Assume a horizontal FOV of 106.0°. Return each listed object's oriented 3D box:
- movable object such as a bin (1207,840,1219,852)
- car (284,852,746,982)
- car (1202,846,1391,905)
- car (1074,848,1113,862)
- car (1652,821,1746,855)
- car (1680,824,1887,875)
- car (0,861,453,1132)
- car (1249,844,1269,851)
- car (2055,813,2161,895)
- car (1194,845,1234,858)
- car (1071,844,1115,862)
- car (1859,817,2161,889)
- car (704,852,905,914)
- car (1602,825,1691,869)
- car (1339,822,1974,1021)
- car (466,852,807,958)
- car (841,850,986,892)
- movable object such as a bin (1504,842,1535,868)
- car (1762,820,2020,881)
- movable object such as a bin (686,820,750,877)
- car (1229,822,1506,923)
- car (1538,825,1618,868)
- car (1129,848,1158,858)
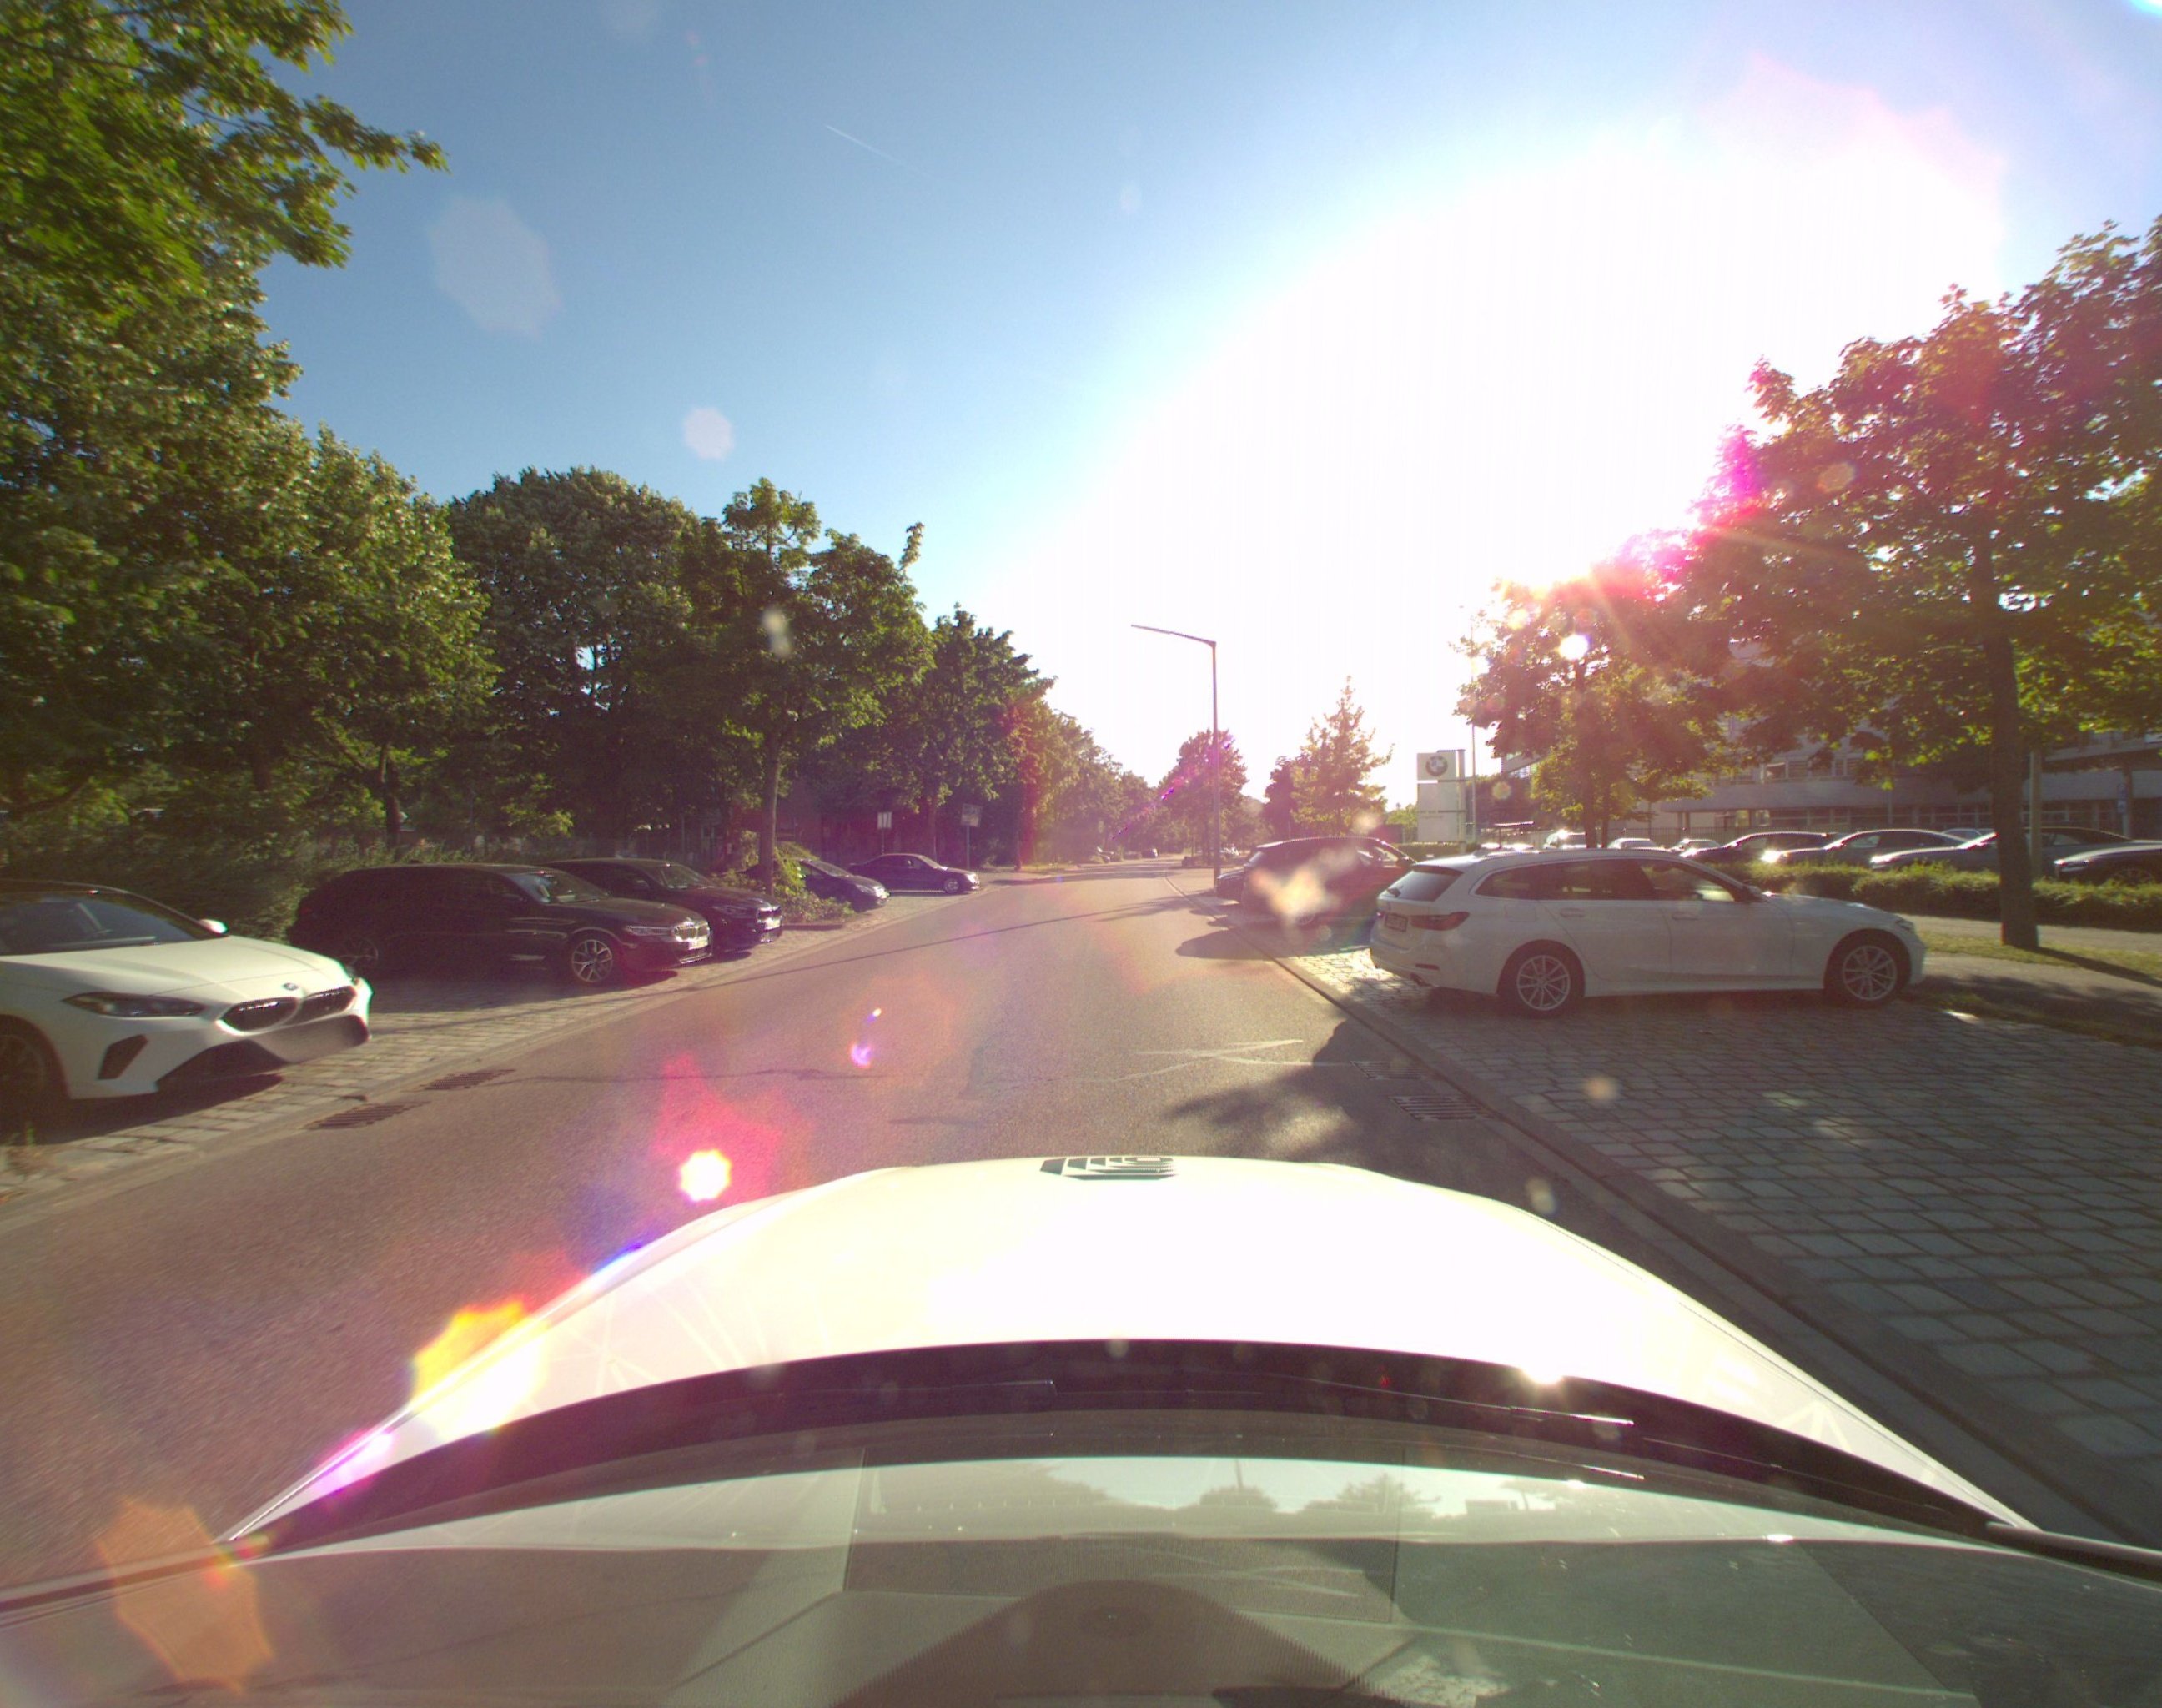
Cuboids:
[{"bbox_3d":[34.747,-2.238,215.023,2.819,3.068,4.943,1,1,12],"label":"movable object such as a bin"},{"bbox_3d":[-7.438,0.783,11.122,4.834,1.530,2.000,1,0,-1],"label":"car"},{"bbox_3d":[5.567,0.536,21.503,4.464,1.404,2.035,-1,0,1],"label":"car"},{"bbox_3d":[1.448,0.119,91.847,4.187,1.530,1.710,-1,0,9],"label":"car"},{"bbox_3d":[28.265,-0.733,37.442,2.015,1.432,4.582,-2,0,18],"label":"car"},{"bbox_3d":[21.829,-0.116,25.478,4.729,1.463,2.012,-1,0,43],"label":"car"},{"bbox_3d":[-7.513,0.863,5.971,4.269,1.530,2.002,1,0,2],"label":"car"},{"bbox_3d":[45.637,-1.670,208.687,4.804,1.479,2.009,1,1,17],"label":"car"},{"bbox_3d":[21.108,-0.039,14.410,4.729,1.463,2.012,-1,0,43],"label":"car"},{"bbox_3d":[17.871,-0.328,109.146,5.142,1.574,2.164,-1,0,10],"label":"car"},{"bbox_3d":[1.436,-0.155,95.885,4.975,2.020,2.180,-1,0,9],"label":"car"},{"bbox_3d":[21.035,-0.014,18.560,4.729,1.463,2.012,-1,0,43],"label":"car"},{"bbox_3d":[-7.067,0.715,21.146,4.462,1.462,2.001,1,0,2],"label":"car"},{"bbox_3d":[25.028,-0.310,36.236,2.015,1.828,4.582,-1,0,18],"label":"car"},{"bbox_3d":[5.153,0.566,7.866,4.677,1.479,2.001,-2,0,1],"label":"car"},{"bbox_3d":[-7.112,0.770,13.394,4.462,1.530,2.001,1,0,2],"label":"car"},{"bbox_3d":[-6.255,0.614,30.798,5.016,1.462,2.001,1,0,2],"label":"car"},{"bbox_3d":[22.478,0.038,41.724,1.110,1.268,1.040,-1,0,9],"label":"movable object such as a bin"},{"bbox_3d":[21.484,-0.071,21.904,4.729,1.463,2.059,-1,0,43],"label":"car"},{"bbox_3d":[-18.235,-0.262,40.758,2.173,2.664,4.754,-1,0,-33],"label":"movable object such as a bin"},{"bbox_3d":[5.295,0.326,15.703,4.671,1.751,2.196,-1,0,6],"label":"car"},{"bbox_3d":[22.616,-0.358,37.247,2.015,1.828,5.000,-1,0,18],"label":"car"},{"bbox_3d":[10.170,-0.206,131.964,4.328,1.479,2.007,1,1,13],"label":"car"}]
